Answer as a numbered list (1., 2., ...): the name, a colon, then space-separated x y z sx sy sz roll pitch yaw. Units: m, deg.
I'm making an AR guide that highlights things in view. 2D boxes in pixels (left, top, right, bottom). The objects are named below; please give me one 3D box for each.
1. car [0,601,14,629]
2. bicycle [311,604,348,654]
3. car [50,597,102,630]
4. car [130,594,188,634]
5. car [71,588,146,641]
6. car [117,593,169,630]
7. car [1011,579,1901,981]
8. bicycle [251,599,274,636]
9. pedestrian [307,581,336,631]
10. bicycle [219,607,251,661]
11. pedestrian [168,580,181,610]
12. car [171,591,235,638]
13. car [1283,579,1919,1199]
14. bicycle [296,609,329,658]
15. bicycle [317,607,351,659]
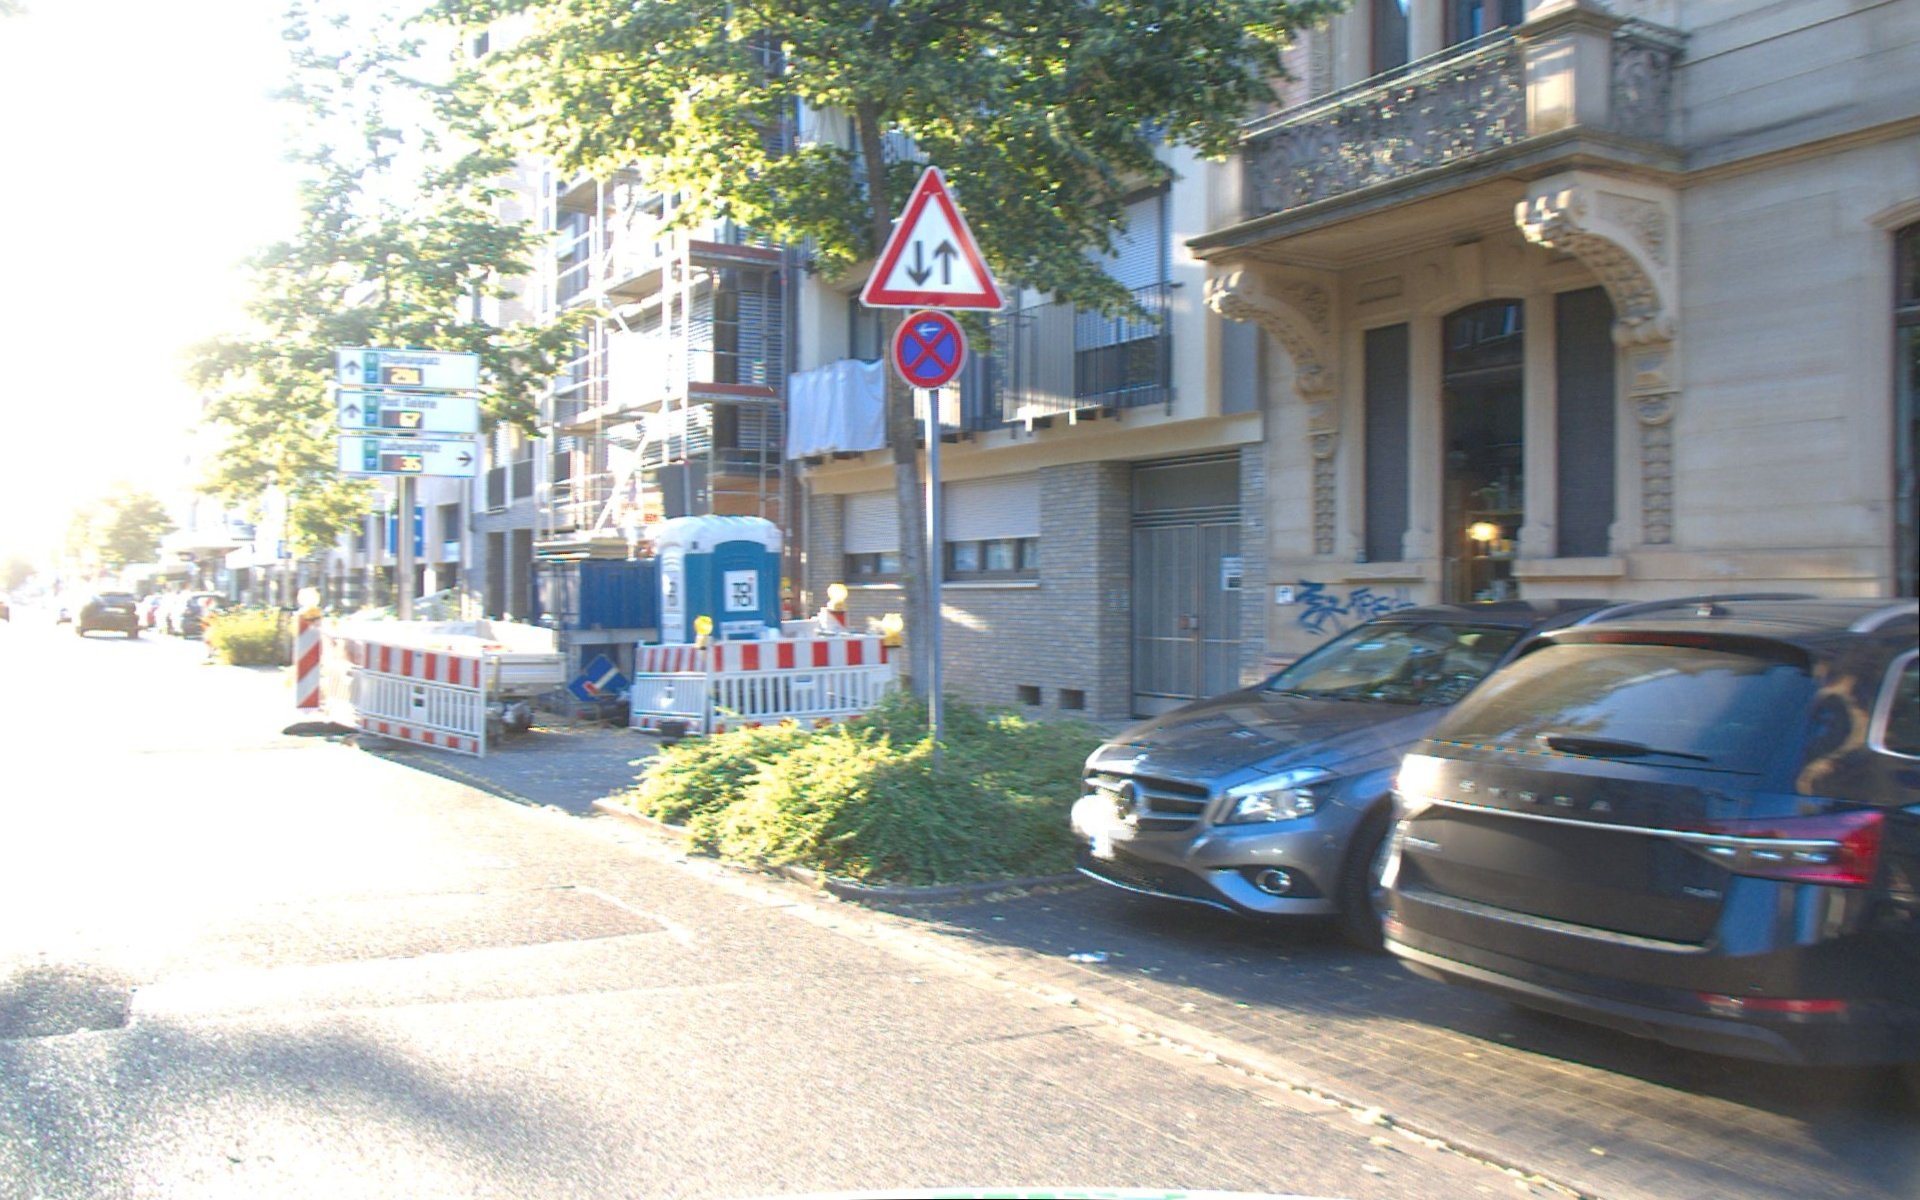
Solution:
1. car: -50.874 0.762 86.994 1.864 1.440 4.279 1 -1 -31
2. bicycle: -14.369 0.651 37.687 0.379 1.119 1.502 0 0 -38
3. car: -41.765 0.623 78.124 1.902 1.440 4.500 3 -2 -31
4. car: -30.474 0.504 62.892 1.617 1.449 3.717 -1 0 -32
5. car: -29.292 0.480 56.830 1.975 1.684 4.625 2 -1 -31
6. car: -34.033 0.470 68.869 1.686 1.461 3.891 0 0 -31
7. car: 2.629 0.685 8.402 4.482 1.505 1.847 -1 0 -32
8. bicycle: -24.318 0.608 57.658 0.393 1.256 1.804 -1 0 -33
9. pedestrian: -21.899 0.215 56.728 0.802 1.675 0.599 -2 0 -32
10. bicycle: -15.695 0.720 35.782 0.378 1.119 1.505 0 0 -34
11. pedestrian: -46.208 -0.266 97.341 0.679 1.752 0.711 -1 0 -26
12. car: -26.170 0.479 57.177 1.618 1.580 2.663 -1 0 -34
13. car: 3.475 0.705 5.944 4.482 1.537 1.890 -1 0 -32
14. bicycle: -15.146 0.779 38.658 0.378 1.119 1.505 1 -1 -34
15. bicycle: -14.779 0.770 39.027 0.378 1.210 1.504 1 -1 -35
